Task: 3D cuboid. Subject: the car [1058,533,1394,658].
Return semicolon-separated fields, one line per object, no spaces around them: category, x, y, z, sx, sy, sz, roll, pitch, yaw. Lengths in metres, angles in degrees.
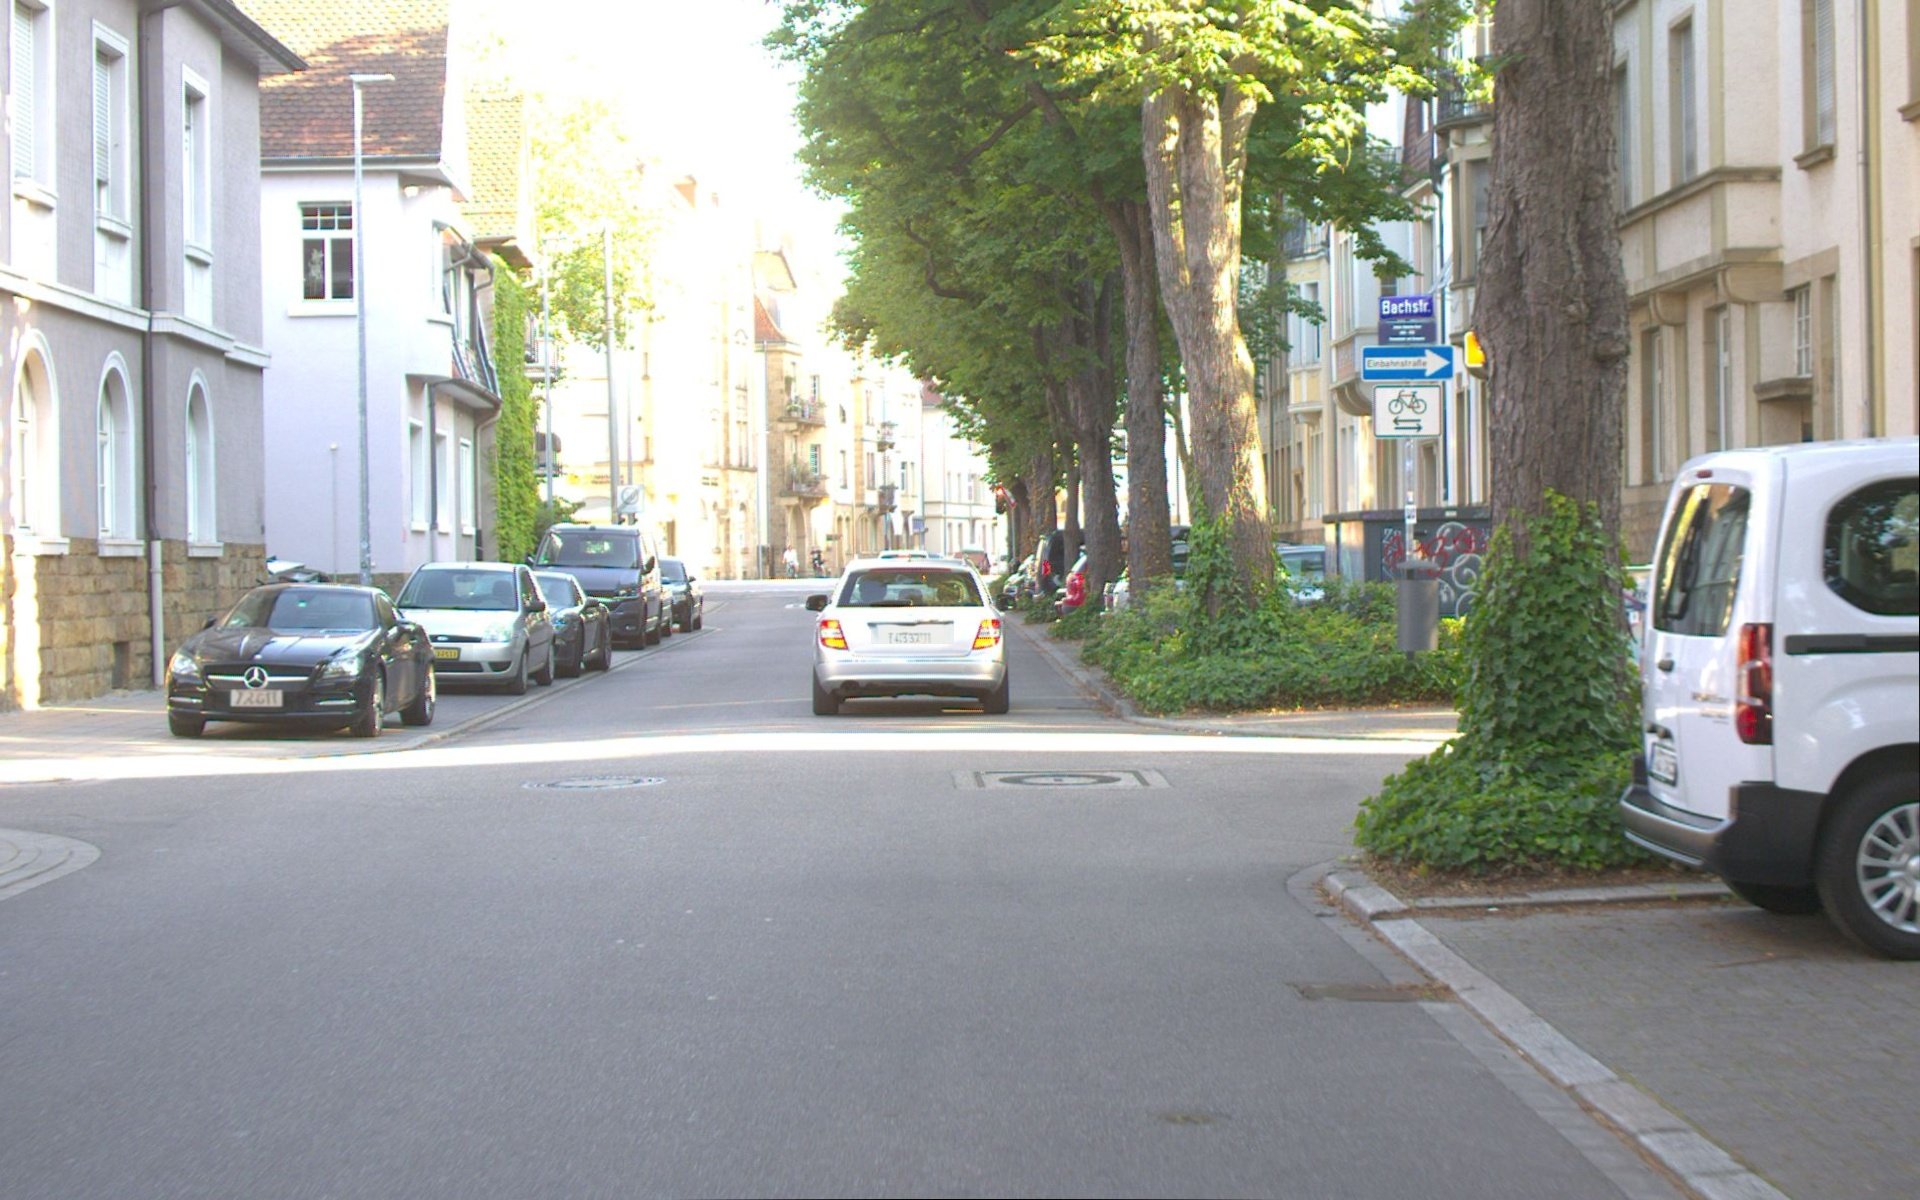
car;3.456;-0.071;45.067;4.146;1.571;1.713;-1;1;-5

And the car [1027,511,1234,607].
car;3.630;-0.891;73.744;4.219;1.890;1.906;-2;1;-2

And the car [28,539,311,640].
car;-11.643;-0.163;50.807;3.862;1.438;1.635;0;2;-4

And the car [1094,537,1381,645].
car;3.806;-0.131;47.531;3.793;1.433;1.818;0;1;-1

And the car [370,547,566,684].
car;-5.547;0.138;39.175;1.653;1.440;3.960;1;1;0

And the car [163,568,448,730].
car;-5.752;0.389;30.657;1.653;1.319;4.045;1;1;2

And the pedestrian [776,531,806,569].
pedestrian;-7.726;-2.269;156.902;1.221;1.716;1.503;1;1;3

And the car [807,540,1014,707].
car;-0.430;0.191;31.817;1.784;1.432;3.851;0;0;0

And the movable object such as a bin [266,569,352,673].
movable object such as a bin;-8.438;0.256;44.636;0.721;1.279;2.096;0;1;0

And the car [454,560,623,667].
car;-5.418;0.147;44.558;1.531;1.314;4.226;0;1;2

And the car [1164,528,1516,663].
car;4.412;-0.068;40.214;3.792;1.433;1.749;-2;1;-5

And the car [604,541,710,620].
car;-5.888;-0.404;67.098;1.695;1.442;4.358;1;1;0

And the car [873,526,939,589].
car;-1.363;-1.102;88.189;1.623;1.564;3.680;0;1;0

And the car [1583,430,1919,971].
car;4.662;0.252;12.625;4.314;1.801;2.000;-2;1;-1

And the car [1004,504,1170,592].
car;3.447;-1.419;93.842;4.388;2.356;2.000;0;1;-3

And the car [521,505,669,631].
car;-5.892;-0.543;55.957;1.982;1.941;4.852;1;1;-1

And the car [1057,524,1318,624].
car;3.750;-0.438;57.152;4.190;1.470;1.851;-2;1;2
